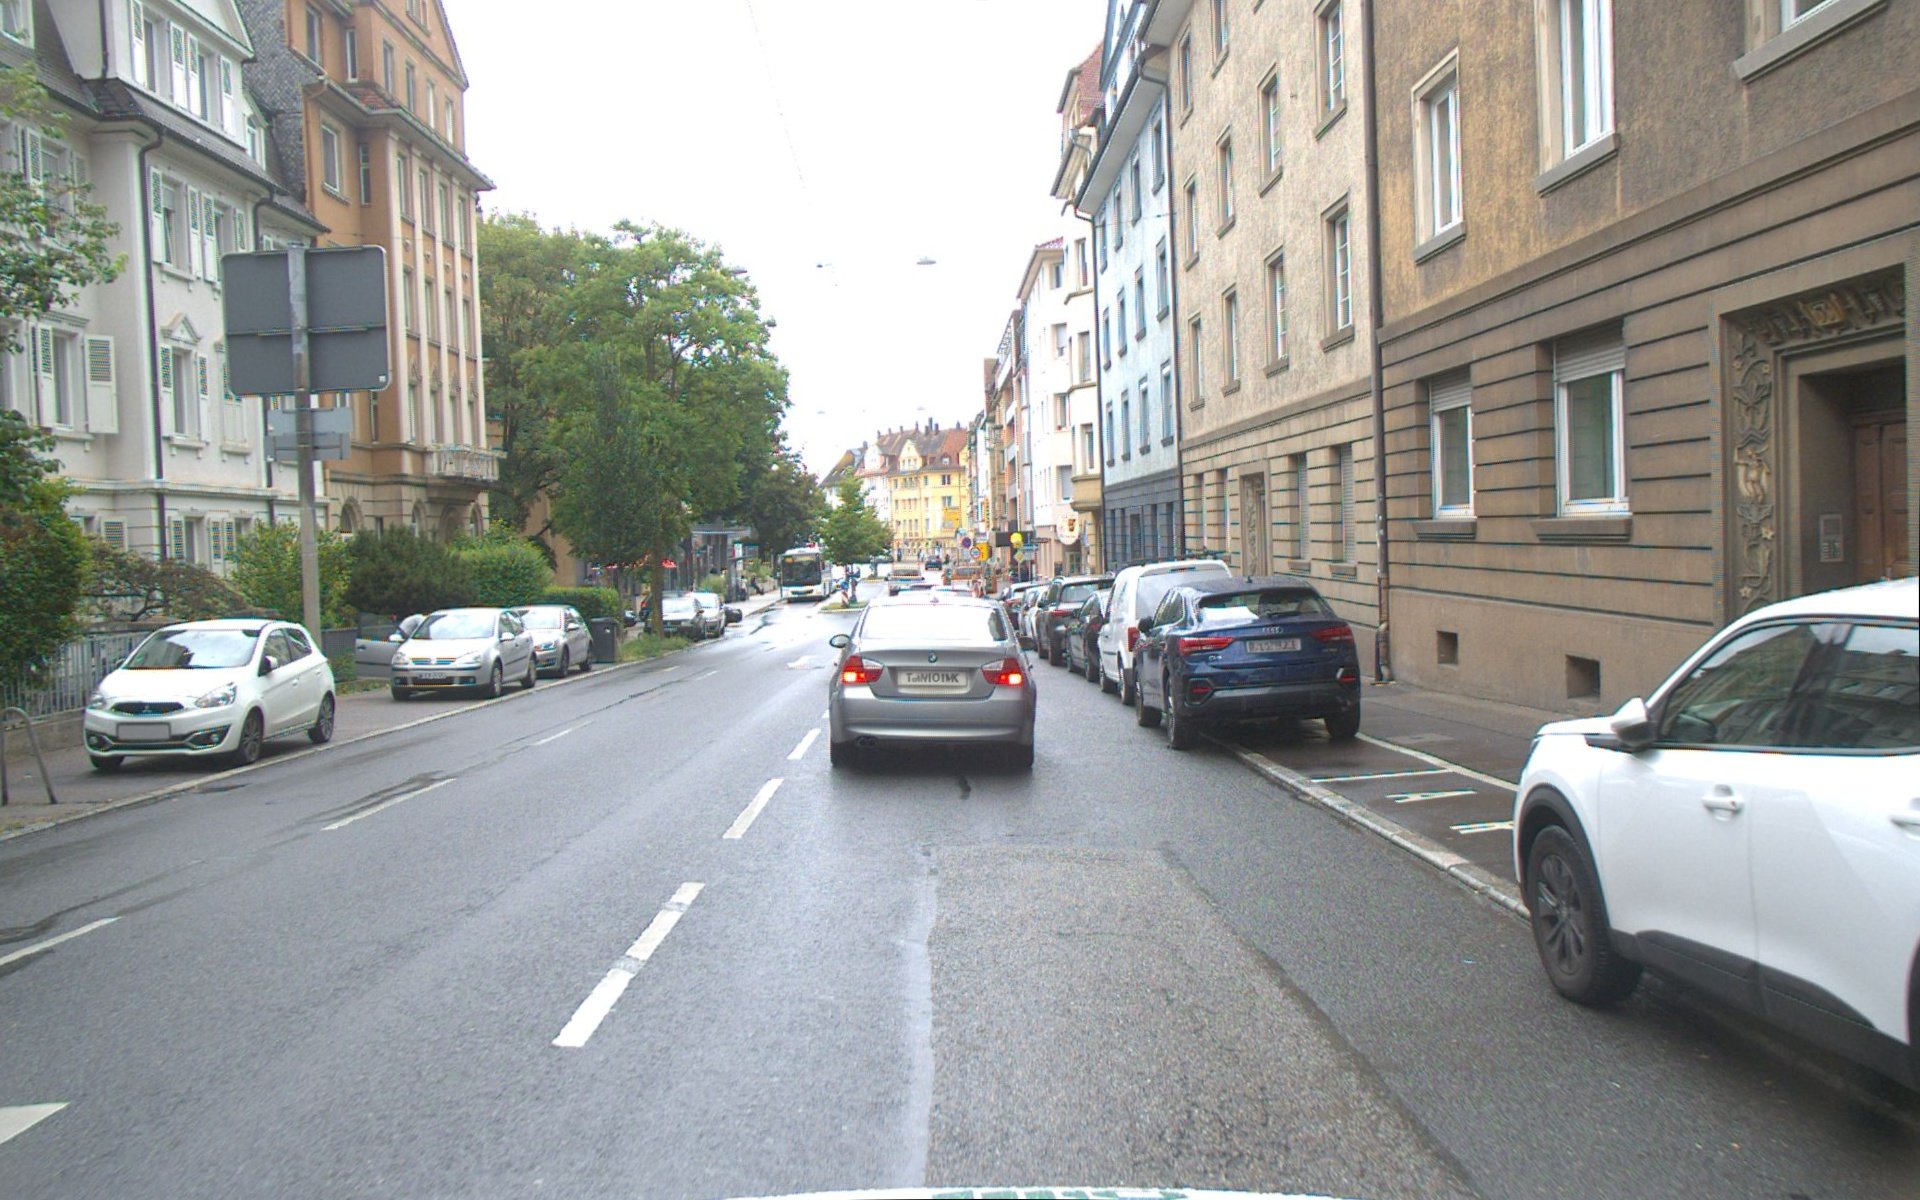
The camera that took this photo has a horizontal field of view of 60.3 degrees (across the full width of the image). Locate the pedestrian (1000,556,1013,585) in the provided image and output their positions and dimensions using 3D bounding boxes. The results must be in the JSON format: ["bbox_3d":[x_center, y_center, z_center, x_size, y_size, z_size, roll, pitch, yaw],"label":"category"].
[{"bbox_3d":[2.805,-1.769,98.990,0.735,1.690,0.754,1,0,0],"label":"pedestrian"}]

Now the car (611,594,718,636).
[{"bbox_3d":[-11.399,0.578,63.911,3.737,1.413,1.743,-2,2,1],"label":"car"}]

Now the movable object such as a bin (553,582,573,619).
[{"bbox_3d":[-11.450,0.011,47.700,0.417,1.059,0.650,-2,1,-2],"label":"movable object such as a bin"}]

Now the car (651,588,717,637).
[{"bbox_3d":[-8.978,0.374,54.028,1.621,1.479,3.940,-2,1,-3],"label":"car"}]

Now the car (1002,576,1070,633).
[{"bbox_3d":[2.307,0.102,51.137,1.781,1.584,4.292,-4,1,-1],"label":"car"}]

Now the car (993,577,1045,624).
[{"bbox_3d":[2.038,-0.013,57.891,1.537,1.489,4.088,-4,1,-1],"label":"car"}]

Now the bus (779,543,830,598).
[{"bbox_3d":[-10.000,-1.809,107.607,2.627,3.256,11.950,1,0,-2],"label":"bus"}]

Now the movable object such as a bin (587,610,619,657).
[{"bbox_3d":[-8.581,0.798,39.787,0.617,1.076,0.600,-2,0,-1],"label":"movable object such as a bin"}]

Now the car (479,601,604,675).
[{"bbox_3d":[-8.691,0.753,34.651,1.648,1.414,3.935,0,1,-1],"label":"car"}]

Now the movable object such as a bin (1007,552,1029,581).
[{"bbox_3d":[3.558,-2.043,101.797,1.100,1.732,1.433,-3,0,-4],"label":"movable object such as a bin"}]

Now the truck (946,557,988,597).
[{"bbox_3d":[0.373,-1.316,94.579,2.171,2.153,4.651,2,0,-1],"label":"truck"}]

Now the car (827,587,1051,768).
[{"bbox_3d":[-0.198,0.602,14.391,1.720,1.386,3.164,-1,0,-2],"label":"car"}]

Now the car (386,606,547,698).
[{"bbox_3d":[-8.499,0.849,28.805,1.648,1.414,3.909,-1,1,-1],"label":"car"}]

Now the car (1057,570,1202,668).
[{"bbox_3d":[2.834,0.278,28.554,1.804,1.433,4.386,-4,1,-2],"label":"car"}]

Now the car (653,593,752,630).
[{"bbox_3d":[-10.376,0.461,66.786,3.739,1.414,1.742,-1,0,-2],"label":"car"}]

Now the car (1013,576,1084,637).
[{"bbox_3d":[2.367,0.134,44.845,1.551,1.454,3.594,-5,1,-2],"label":"car"}]

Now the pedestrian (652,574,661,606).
[{"bbox_3d":[-17.527,-0.593,95.377,0.456,1.821,0.543,1,-1,-8],"label":"pedestrian"}]

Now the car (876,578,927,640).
[{"bbox_3d":[-2.069,0.316,57.650,1.671,2.049,3.997,1,0,-4],"label":"car"}]

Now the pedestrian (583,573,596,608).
[{"bbox_3d":[-20.024,-0.506,89.331,0.622,1.847,0.636,-2,1,-13],"label":"pedestrian"}]

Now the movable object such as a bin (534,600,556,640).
[{"bbox_3d":[-11.356,0.551,45.265,0.430,1.057,0.650,-2,1,-2],"label":"movable object such as a bin"}]

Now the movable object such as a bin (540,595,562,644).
[{"bbox_3d":[-11.365,0.528,45.986,0.430,1.331,0.650,-2,1,-2],"label":"movable object such as a bin"}]

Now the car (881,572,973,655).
[{"bbox_3d":[-0.659,0.250,31.029,1.570,1.445,3.285,1,0,-4],"label":"car"}]

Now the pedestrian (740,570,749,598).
[{"bbox_3d":[-13.278,-0.999,101.929,0.532,1.739,0.465,1,-1,-8],"label":"pedestrian"}]

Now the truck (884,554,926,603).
[{"bbox_3d":[-2.989,-1.130,89.821,2.172,2.589,4.778,1,0,-2],"label":"truck"}]

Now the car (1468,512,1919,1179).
[{"bbox_3d":[3.129,0.564,4.999,1.600,1.666,4.193,-5,1,-3],"label":"car"}]

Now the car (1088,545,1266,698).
[{"bbox_3d":[2.930,0.242,23.175,1.754,1.849,4.079,-4,1,-2],"label":"car"}]

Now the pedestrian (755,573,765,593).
[{"bbox_3d":[-14.177,-1.179,117.365,0.607,1.402,0.544,1,-1,0],"label":"pedestrian"}]

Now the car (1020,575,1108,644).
[{"bbox_3d":[2.486,0.196,40.410,1.695,1.454,3.973,-5,1,-2],"label":"car"}]

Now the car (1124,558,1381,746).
[{"bbox_3d":[2.838,0.431,16.943,1.754,1.575,4.225,-4,1,-1],"label":"car"}]

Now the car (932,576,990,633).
[{"bbox_3d":[0.030,0.122,42.434,1.406,1.380,3.762,1,0,0],"label":"car"}]

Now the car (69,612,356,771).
[{"bbox_3d":[-8.253,0.936,18.630,1.613,1.534,3.794,-2,0,-3],"label":"car"}]

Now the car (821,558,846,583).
[{"bbox_3d":[-10.969,-2.565,143.475,1.953,2.049,3.998,1,0,-2],"label":"car"}]

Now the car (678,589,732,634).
[{"bbox_3d":[-8.994,0.378,58.552,1.600,1.479,3.836,-2,1,-5],"label":"car"}]

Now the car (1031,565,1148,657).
[{"bbox_3d":[2.555,0.196,33.666,1.804,1.649,4.206,-3,0,-2],"label":"car"}]
